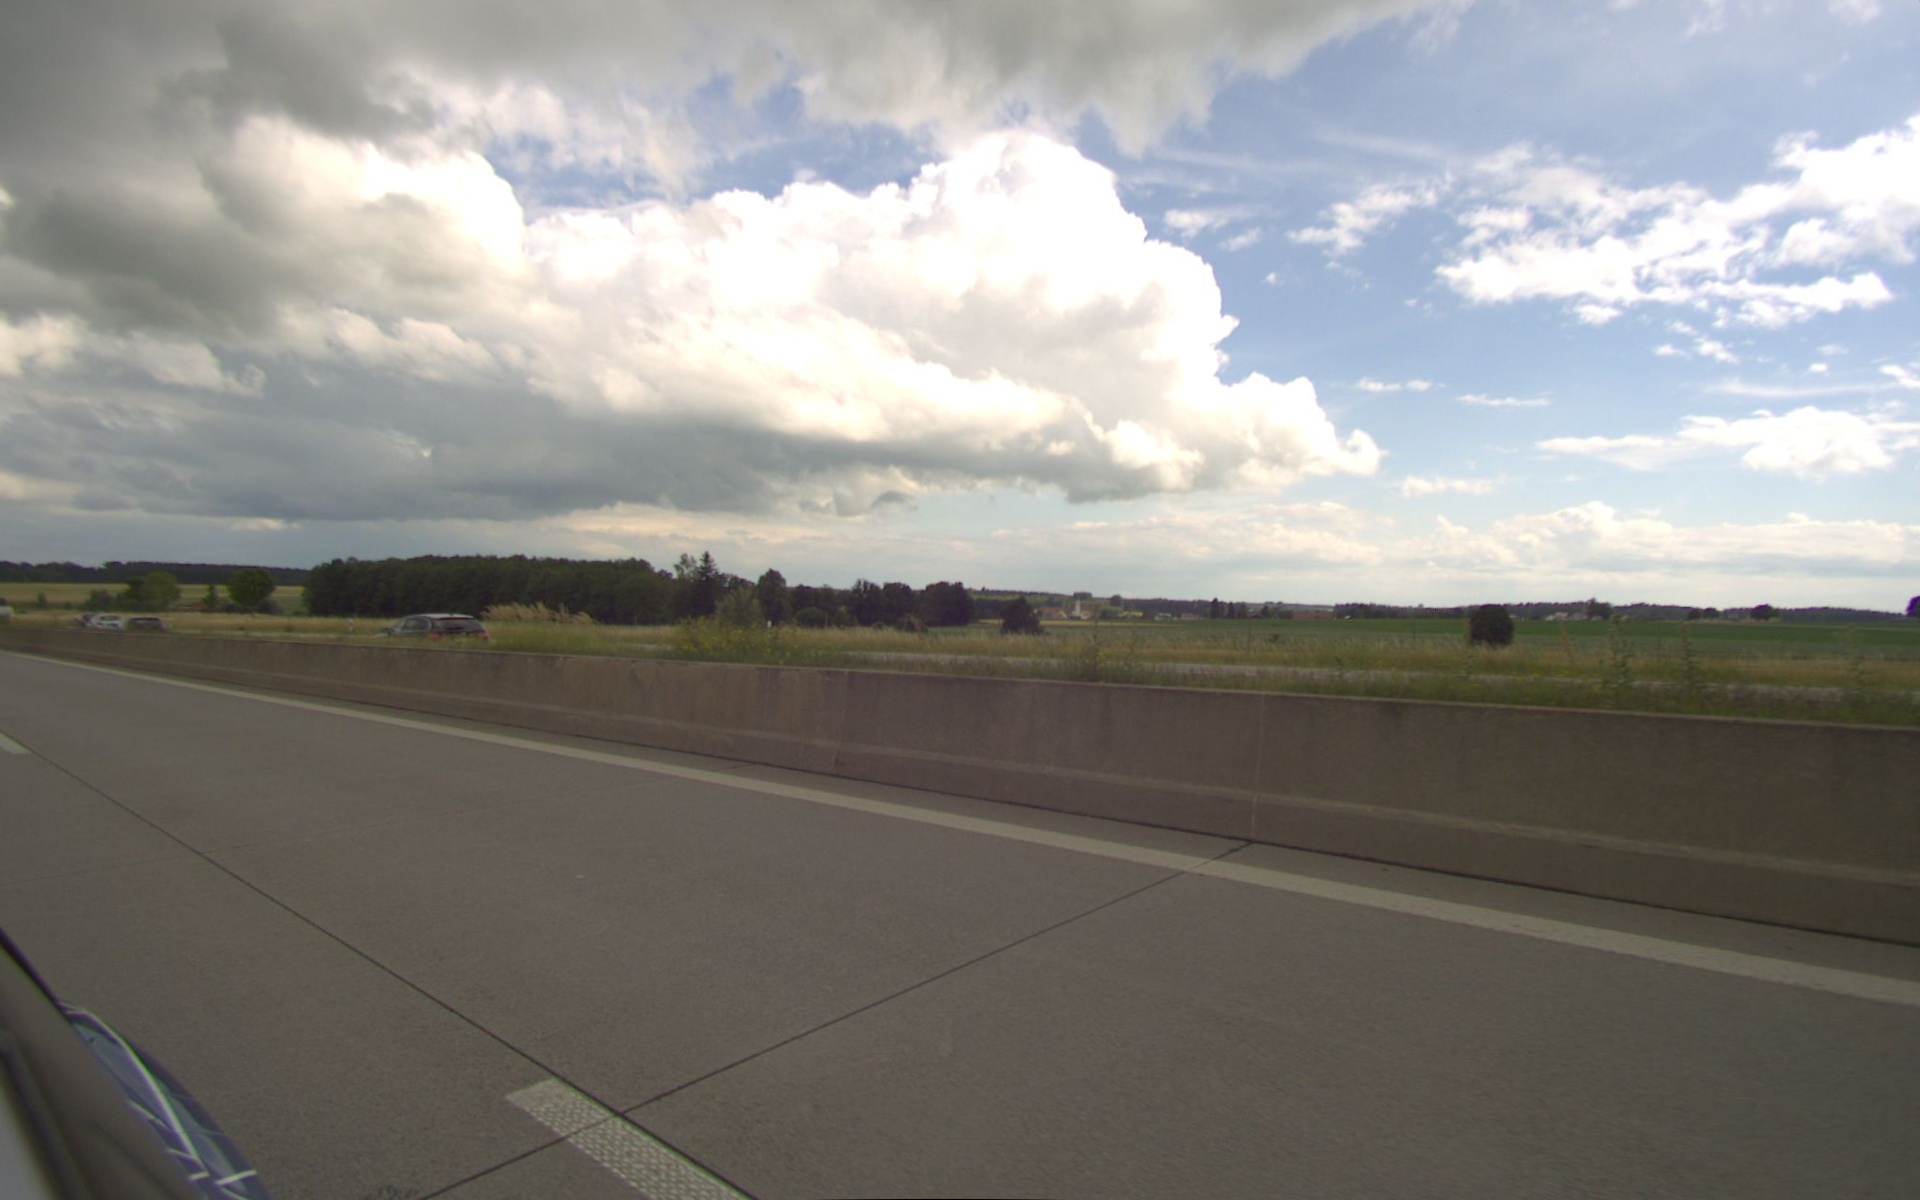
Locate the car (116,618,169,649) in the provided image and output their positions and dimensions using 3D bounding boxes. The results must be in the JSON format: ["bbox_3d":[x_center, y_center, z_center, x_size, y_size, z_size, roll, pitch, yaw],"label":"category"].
[{"bbox_3d":[-41.892,1.687,51.833,3.098,1.482,1.600,-1,0,41],"label":"car"}]

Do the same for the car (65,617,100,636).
[{"bbox_3d":[-83.100,2.497,95.820,4.940,1.653,1.731,-1,0,41],"label":"car"}]

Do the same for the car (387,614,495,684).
[{"bbox_3d":[-14.136,1.278,27.507,3.258,1.659,1.534,1,1,41],"label":"car"}]

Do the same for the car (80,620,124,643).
[{"bbox_3d":[-62.275,2.241,73.467,4.514,1.518,1.760,0,0,41],"label":"car"}]

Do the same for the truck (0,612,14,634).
[{"bbox_3d":[-121.918,2.917,128.248,7.442,2.586,2.123,0,0,40],"label":"truck"}]
